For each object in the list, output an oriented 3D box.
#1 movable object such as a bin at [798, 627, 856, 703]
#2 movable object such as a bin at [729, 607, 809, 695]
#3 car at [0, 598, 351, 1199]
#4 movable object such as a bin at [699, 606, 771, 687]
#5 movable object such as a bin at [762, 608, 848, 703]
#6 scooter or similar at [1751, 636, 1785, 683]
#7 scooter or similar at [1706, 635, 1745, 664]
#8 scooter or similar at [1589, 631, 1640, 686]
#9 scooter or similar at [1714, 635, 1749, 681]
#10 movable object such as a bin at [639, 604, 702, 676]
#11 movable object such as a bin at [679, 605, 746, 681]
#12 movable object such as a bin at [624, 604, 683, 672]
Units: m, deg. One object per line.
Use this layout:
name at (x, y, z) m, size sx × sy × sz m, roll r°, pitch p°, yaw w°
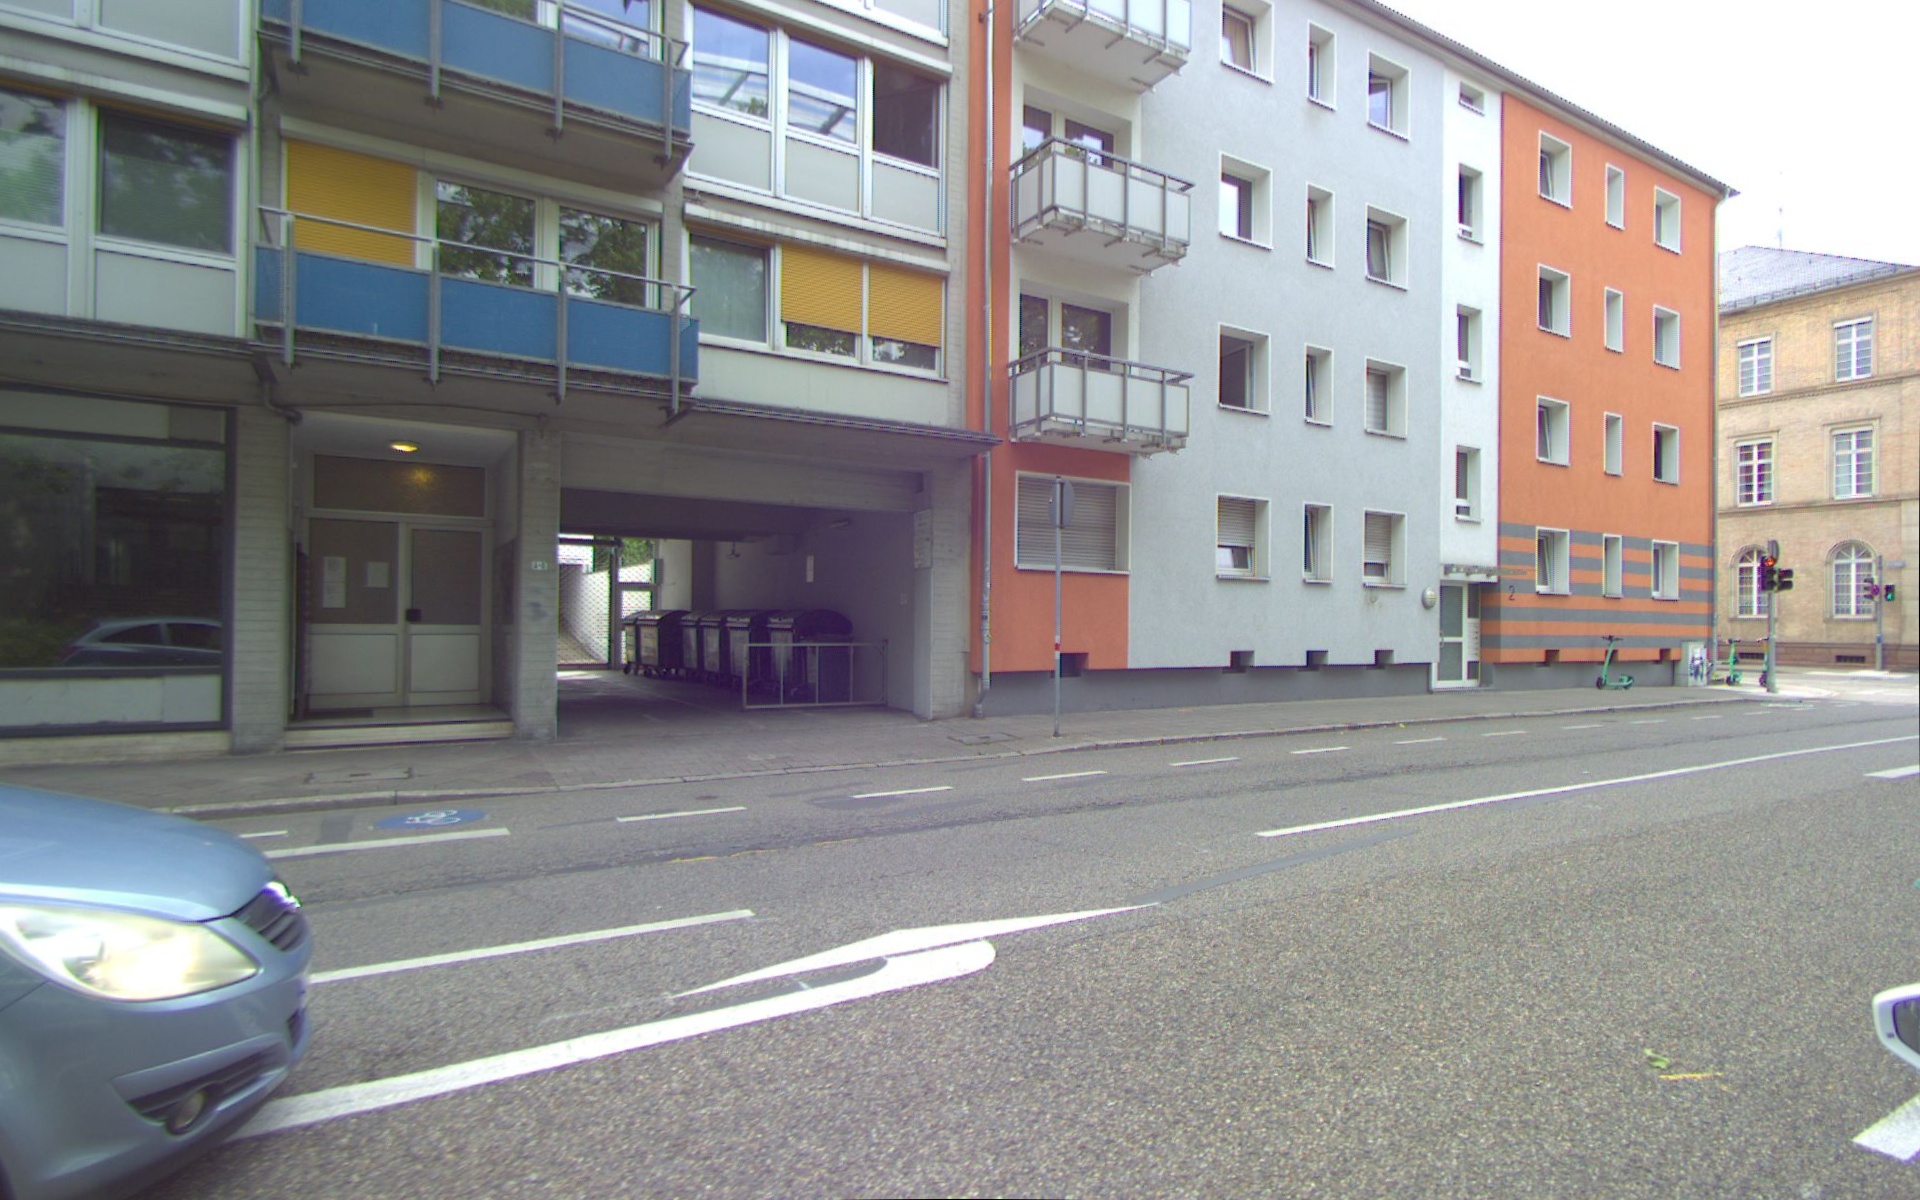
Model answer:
movable object such as a bin at (-2.066, 1.002, 15.630) m, size 0.701 × 1.141 × 0.639 m, roll 1°, pitch -1°, yaw -30°
movable object such as a bin at (-3.377, 0.870, 17.711) m, size 1.040 × 1.483 × 1.184 m, roll 1°, pitch -1°, yaw -30°
car at (-3.605, 0.693, 1.864) m, size 4.206 × 1.439 × 1.703 m, roll 1°, pitch -1°, yaw -32°
movable object such as a bin at (-4.299, 0.864, 19.130) m, size 1.040 × 1.483 × 1.184 m, roll 1°, pitch -1°, yaw -30°
movable object such as a bin at (-2.549, 0.875, 16.445) m, size 1.040 × 1.483 × 1.184 m, roll 1°, pitch -1°, yaw -30°
scooter or similar at (20.532, 1.509, 25.520) m, size 1.130 × 1.159 × 0.375 m, roll 3°, pitch -2°, yaw -35°
scooter or similar at (29.706, 1.918, 38.985) m, size 0.375 × 1.063 × 1.132 m, roll 3°, pitch -2°, yaw -30°
scooter or similar at (14.614, 1.306, 22.415) m, size 1.374 × 1.199 × 0.376 m, roll 3°, pitch -2°, yaw -31°
scooter or similar at (19.781, 1.488, 25.751) m, size 1.130 × 1.162 × 0.375 m, roll 3°, pitch -2°, yaw -35°
movable object such as a bin at (-6.247, 0.848, 21.665) m, size 1.040 × 1.483 × 1.184 m, roll 1°, pitch -1°, yaw -30°
movable object such as a bin at (-5.049, 0.862, 20.439) m, size 1.040 × 1.483 × 1.184 m, roll 1°, pitch -1°, yaw -30°
movable object such as a bin at (-6.961, 0.843, 22.786) m, size 1.040 × 1.483 × 1.184 m, roll 1°, pitch -1°, yaw -30°
